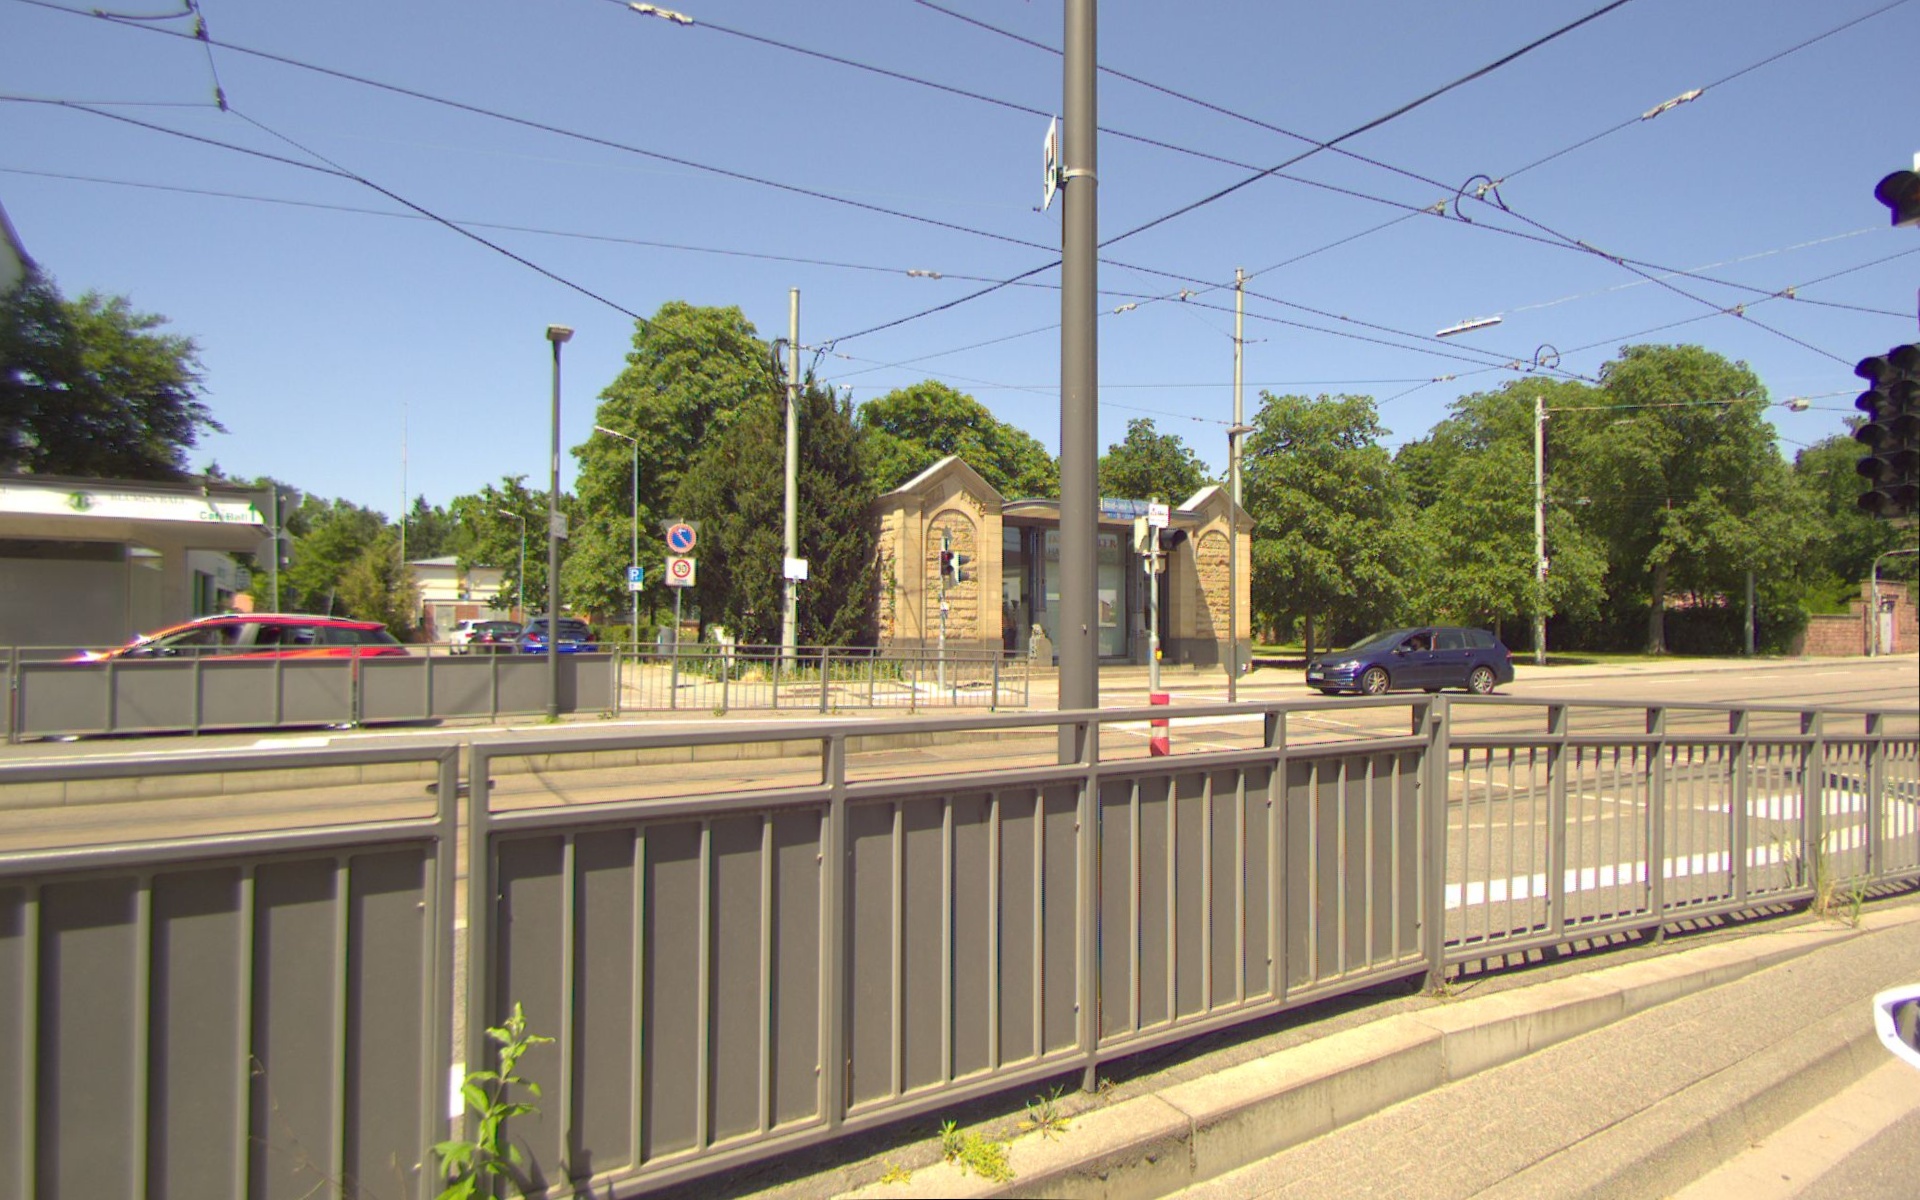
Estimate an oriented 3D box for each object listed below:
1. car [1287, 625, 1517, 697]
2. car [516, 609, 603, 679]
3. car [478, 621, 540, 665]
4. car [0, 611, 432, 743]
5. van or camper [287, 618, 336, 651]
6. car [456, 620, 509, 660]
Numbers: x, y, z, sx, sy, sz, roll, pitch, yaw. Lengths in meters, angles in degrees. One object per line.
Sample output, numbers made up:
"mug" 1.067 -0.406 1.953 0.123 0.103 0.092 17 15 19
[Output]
"car" 9.540 1.276 21.760 4.403 1.461 1.857 1 -1 -15
"car" -9.953 1.029 24.793 1.799 1.472 3.934 1 1 -25
"car" -15.342 1.462 34.096 1.624 1.388 3.785 1 -3 -29
"car" -8.983 0.897 12.587 4.126 1.414 1.809 1 -3 -31
"van or camper" -32.140 1.688 49.735 1.676 1.587 3.784 1 -2 -38
"car" -18.754 1.567 39.378 1.625 1.465 3.784 1 -3 -29
